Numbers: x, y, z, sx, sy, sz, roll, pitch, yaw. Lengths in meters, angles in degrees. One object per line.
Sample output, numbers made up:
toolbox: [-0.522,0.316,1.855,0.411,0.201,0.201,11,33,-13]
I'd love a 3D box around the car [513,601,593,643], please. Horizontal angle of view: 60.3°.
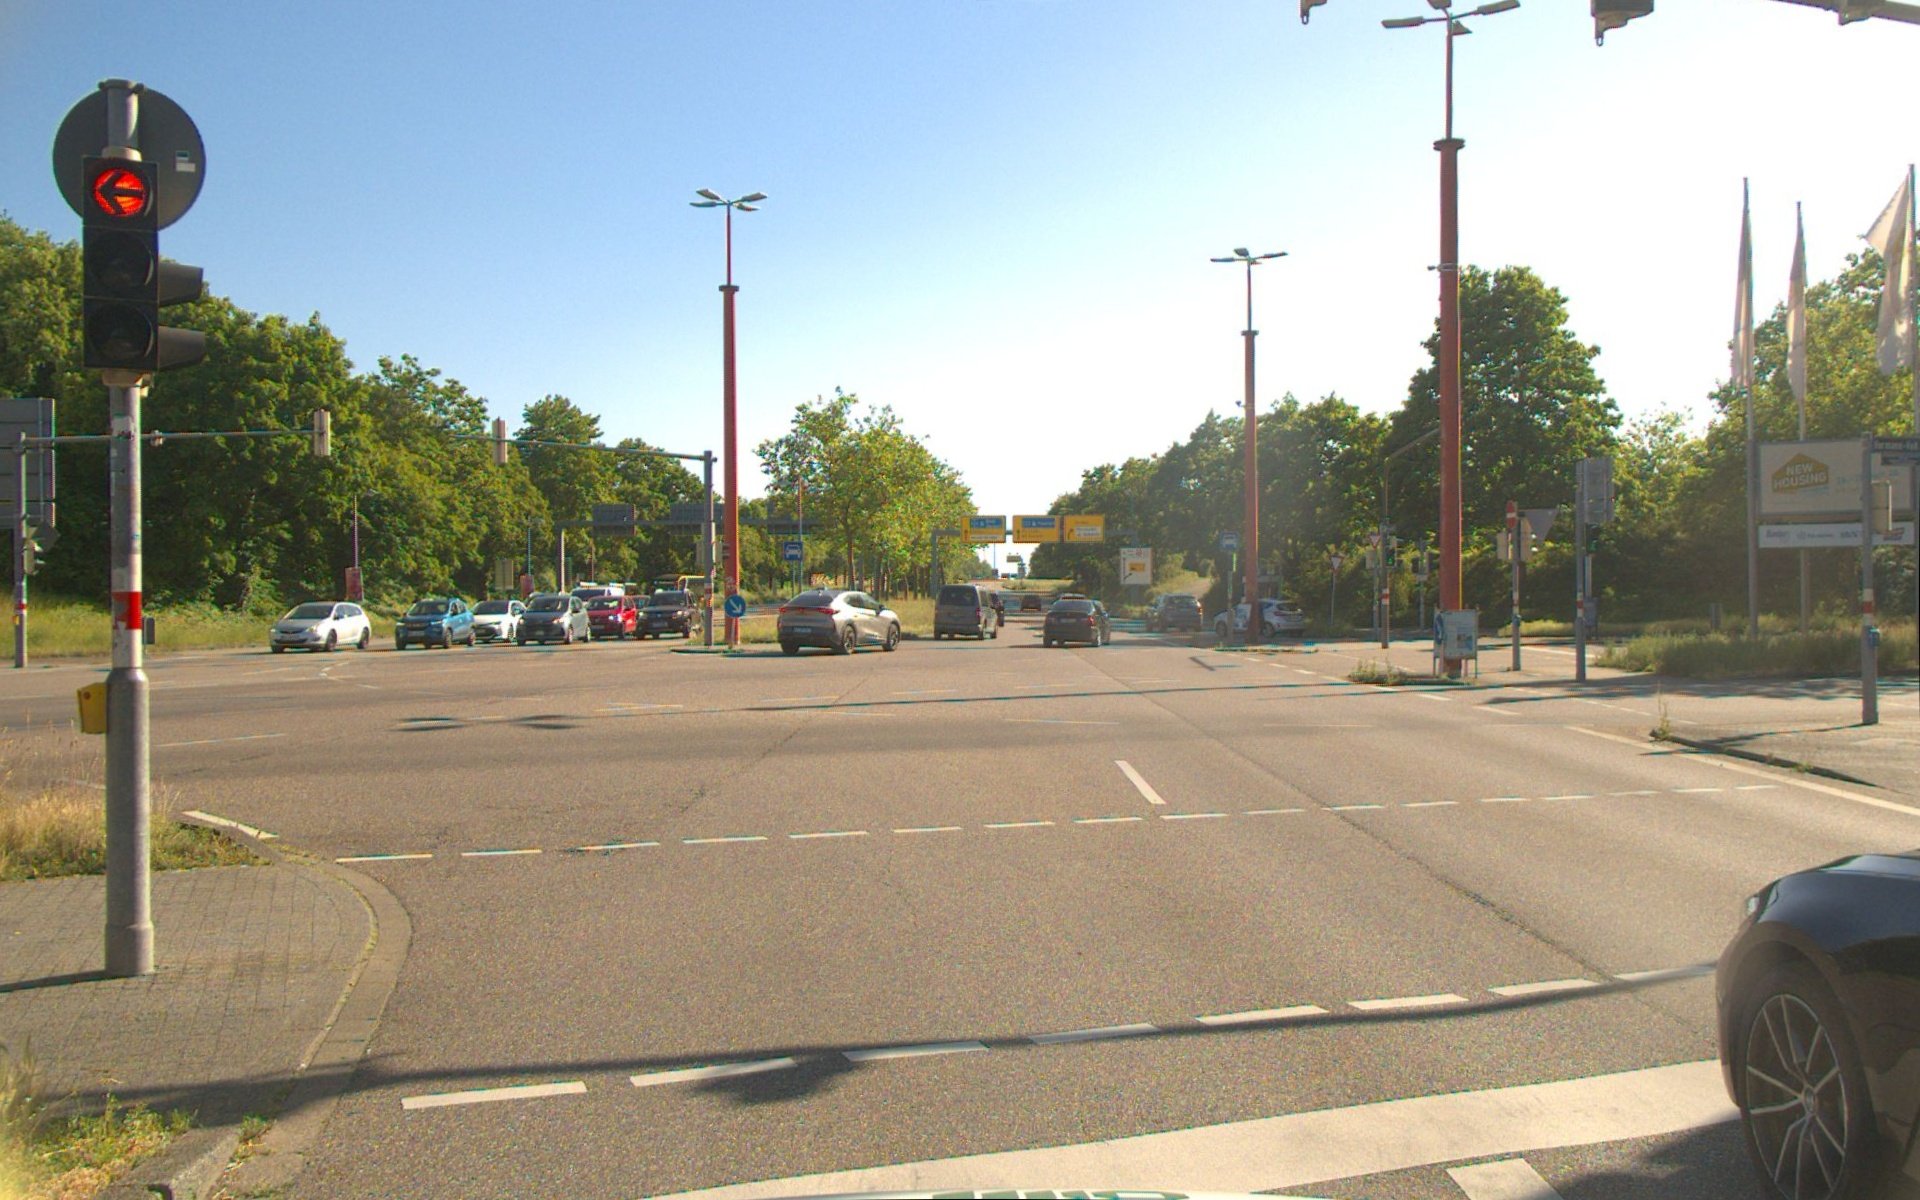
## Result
car: [-12.671,0.666,51.697,1.704,1.265,3.611,0,0,-2]

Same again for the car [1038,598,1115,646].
car: [3.628,0.648,50.850,1.722,1.373,4.367,0,0,12]

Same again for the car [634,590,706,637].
car: [-9.751,0.429,55.914,1.782,1.534,3.999,0,0,-1]

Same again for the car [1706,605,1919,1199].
car: [2.941,0.731,2.360,1.831,1.422,4.444,0,0,1]

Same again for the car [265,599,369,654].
car: [-19.474,0.772,50.271,1.725,1.559,3.934,0,0,-2]

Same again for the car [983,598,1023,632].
car: [2.086,0.699,79.348,1.813,1.572,4.264,0,0,3]

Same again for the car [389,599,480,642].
car: [-16.052,0.608,50.675,1.704,1.265,3.611,0,0,-2]

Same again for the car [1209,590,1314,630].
car: [11.514,0.376,63.309,1.665,1.493,3.945,0,0,-35]

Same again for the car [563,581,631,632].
car: [-15.517,0.306,70.925,1.855,2.061,5.221,1,-1,-2]

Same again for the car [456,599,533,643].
car: [-15.929,0.697,56.792,1.704,1.436,3.611,0,0,-2]

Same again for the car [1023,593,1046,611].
car: [6.339,0.168,141.167,1.646,1.460,4.064,0,0,-1]

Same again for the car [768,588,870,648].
car: [-3.588,0.440,42.837,1.791,1.447,4.440,0,0,6]

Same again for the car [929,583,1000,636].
car: [0.200,0.307,56.458,1.806,1.738,4.311,0,0,9]

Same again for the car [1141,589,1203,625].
car: [9.320,0.303,72.966,1.745,1.511,4.323,0,0,-7]

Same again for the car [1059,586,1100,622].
car: [5.659,0.168,78.606,1.785,1.665,4.254,0,0,2]

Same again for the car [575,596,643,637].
car: [-12.278,0.549,58.074,1.704,1.386,3.611,0,0,-2]
